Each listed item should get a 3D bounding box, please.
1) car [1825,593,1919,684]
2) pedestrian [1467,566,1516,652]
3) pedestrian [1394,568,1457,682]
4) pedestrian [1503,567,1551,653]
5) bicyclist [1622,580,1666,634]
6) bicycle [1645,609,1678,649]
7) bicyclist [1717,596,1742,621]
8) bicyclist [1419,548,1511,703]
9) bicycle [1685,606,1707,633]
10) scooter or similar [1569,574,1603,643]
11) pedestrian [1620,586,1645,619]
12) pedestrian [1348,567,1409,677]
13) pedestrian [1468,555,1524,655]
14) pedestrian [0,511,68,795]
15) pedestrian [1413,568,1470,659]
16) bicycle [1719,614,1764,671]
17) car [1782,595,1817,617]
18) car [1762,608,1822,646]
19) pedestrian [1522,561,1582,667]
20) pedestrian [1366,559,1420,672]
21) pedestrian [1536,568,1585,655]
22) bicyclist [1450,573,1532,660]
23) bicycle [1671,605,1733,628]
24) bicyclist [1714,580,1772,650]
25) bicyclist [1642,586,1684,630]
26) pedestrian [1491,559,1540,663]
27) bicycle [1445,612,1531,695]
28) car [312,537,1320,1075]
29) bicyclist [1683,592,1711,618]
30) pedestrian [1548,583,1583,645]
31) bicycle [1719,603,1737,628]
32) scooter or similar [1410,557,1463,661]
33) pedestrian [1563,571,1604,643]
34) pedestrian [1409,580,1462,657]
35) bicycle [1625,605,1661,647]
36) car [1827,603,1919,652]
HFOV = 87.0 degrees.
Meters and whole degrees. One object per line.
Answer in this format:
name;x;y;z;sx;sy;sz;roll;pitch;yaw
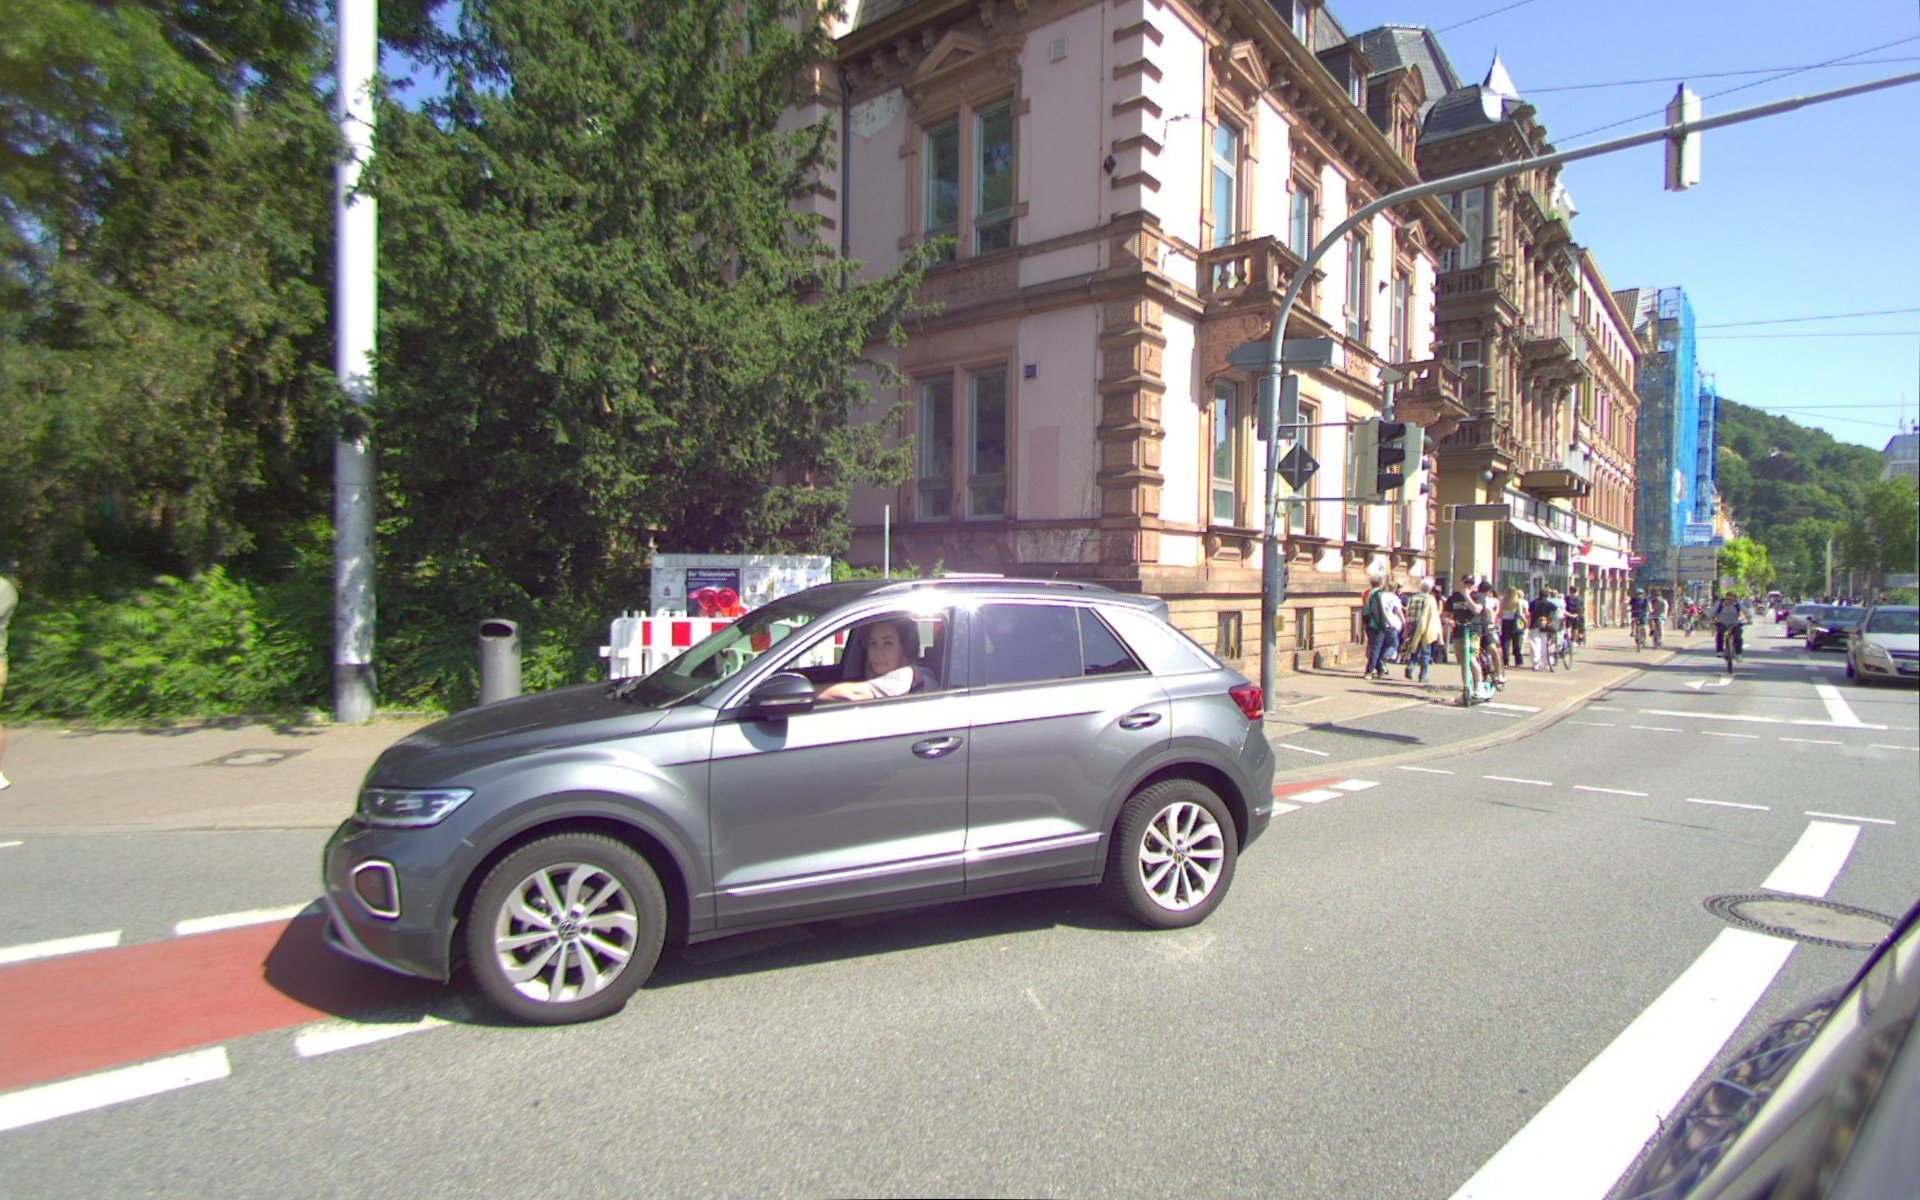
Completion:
car;17.771;0.664;18.902;1.790;1.520;4.445;2;1;32
pedestrian;13.188;0.215;25.114;0.810;2.038;0.804;5;2;39
pedestrian;7.628;0.394;16.571;0.704;1.791;0.891;2;1;38
pedestrian;14.087;0.234;25.157;0.810;2.038;0.804;5;2;39
bicyclist;19.241;0.188;28.465;0.908;1.454;1.215;2;1;38
bicycle;20.934;0.836;30.196;0.640;1.096;2.462;2;1;38
bicyclist;36.035;0.393;47.385;0.908;1.096;1.215;2;1;38
bicyclist;6.965;0.321;13.949;0.940;2.039;0.818;2;1;39
bicycle;31.934;0.846;43.889;0.640;1.096;2.462;2;1;38
scooter or similar;18.833;0.241;30.442;0.691;2.039;1.080;2;1;38
pedestrian;33.921;0.132;51.046;0.908;1.621;1.215;2;1;38
pedestrian;7.010;0.340;16.950;0.704;1.774;0.891;2;2;38
pedestrian;11.361;0.095;21.449;0.810;2.038;0.804;5;2;39
pedestrian;-7.266;0.368;7.360;0.774;2.039;1.044;2;1;39
pedestrian;10.021;0.262;21.041;0.810;1.815;0.804;5;3;39
bicycle;16.488;0.865;21.387;0.640;1.096;2.464;2;1;36
car;62.779;0.439;75.648;1.991;1.594;3.941;0;-1;41
car;37.146;1.156;45.137;1.991;1.594;3.941;0;-1;41
pedestrian;11.925;0.259;20.385;0.810;2.038;0.804;5;2;39
pedestrian;7.592;0.252;17.721;0.633;1.915;0.891;1;0;38
pedestrian;14.690;0.269;24.743;0.810;2.038;0.804;5;2;39
bicyclist;8.037;0.232;15.314;0.919;1.234;0.958;2;1;39
bicycle;38.257;0.833;52.204;2.489;1.096;0.633;3;1;44
bicyclist;16.565;0.308;21.422;0.908;1.411;1.216;2;1;38
bicyclist;20.832;0.224;29.989;0.908;1.250;1.215;2;1;38
pedestrian;11.281;0.218;20.551;0.659;2.038;0.690;5;2;38
bicycle;8.020;0.767;15.323;0.777;1.116;2.109;2;1;37
car;-0.533;0.585;4.643;3.911;1.534;1.939;1;1;-27
bicyclist;31.999;0.199;43.922;0.908;1.082;1.215;2;1;38
pedestrian;17.076;0.379;28.526;0.705;1.715;0.619;2;2;42
bicycle;36.031;0.723;47.473;0.640;1.096;2.462;2;1;38
scooter or similar;9.686;0.172;20.553;0.691;2.039;1.080;2;1;38
pedestrian;18.295;0.207;29.709;0.810;2.038;0.804;5;2;39
pedestrian;10.514;0.388;22.384;0.810;1.622;0.804;5;3;39
bicycle;19.296;0.702;28.558;0.640;1.096;2.462;2;1;38
car;26.985;0.775;29.987;1.887;1.347;3.942;0;0;40
